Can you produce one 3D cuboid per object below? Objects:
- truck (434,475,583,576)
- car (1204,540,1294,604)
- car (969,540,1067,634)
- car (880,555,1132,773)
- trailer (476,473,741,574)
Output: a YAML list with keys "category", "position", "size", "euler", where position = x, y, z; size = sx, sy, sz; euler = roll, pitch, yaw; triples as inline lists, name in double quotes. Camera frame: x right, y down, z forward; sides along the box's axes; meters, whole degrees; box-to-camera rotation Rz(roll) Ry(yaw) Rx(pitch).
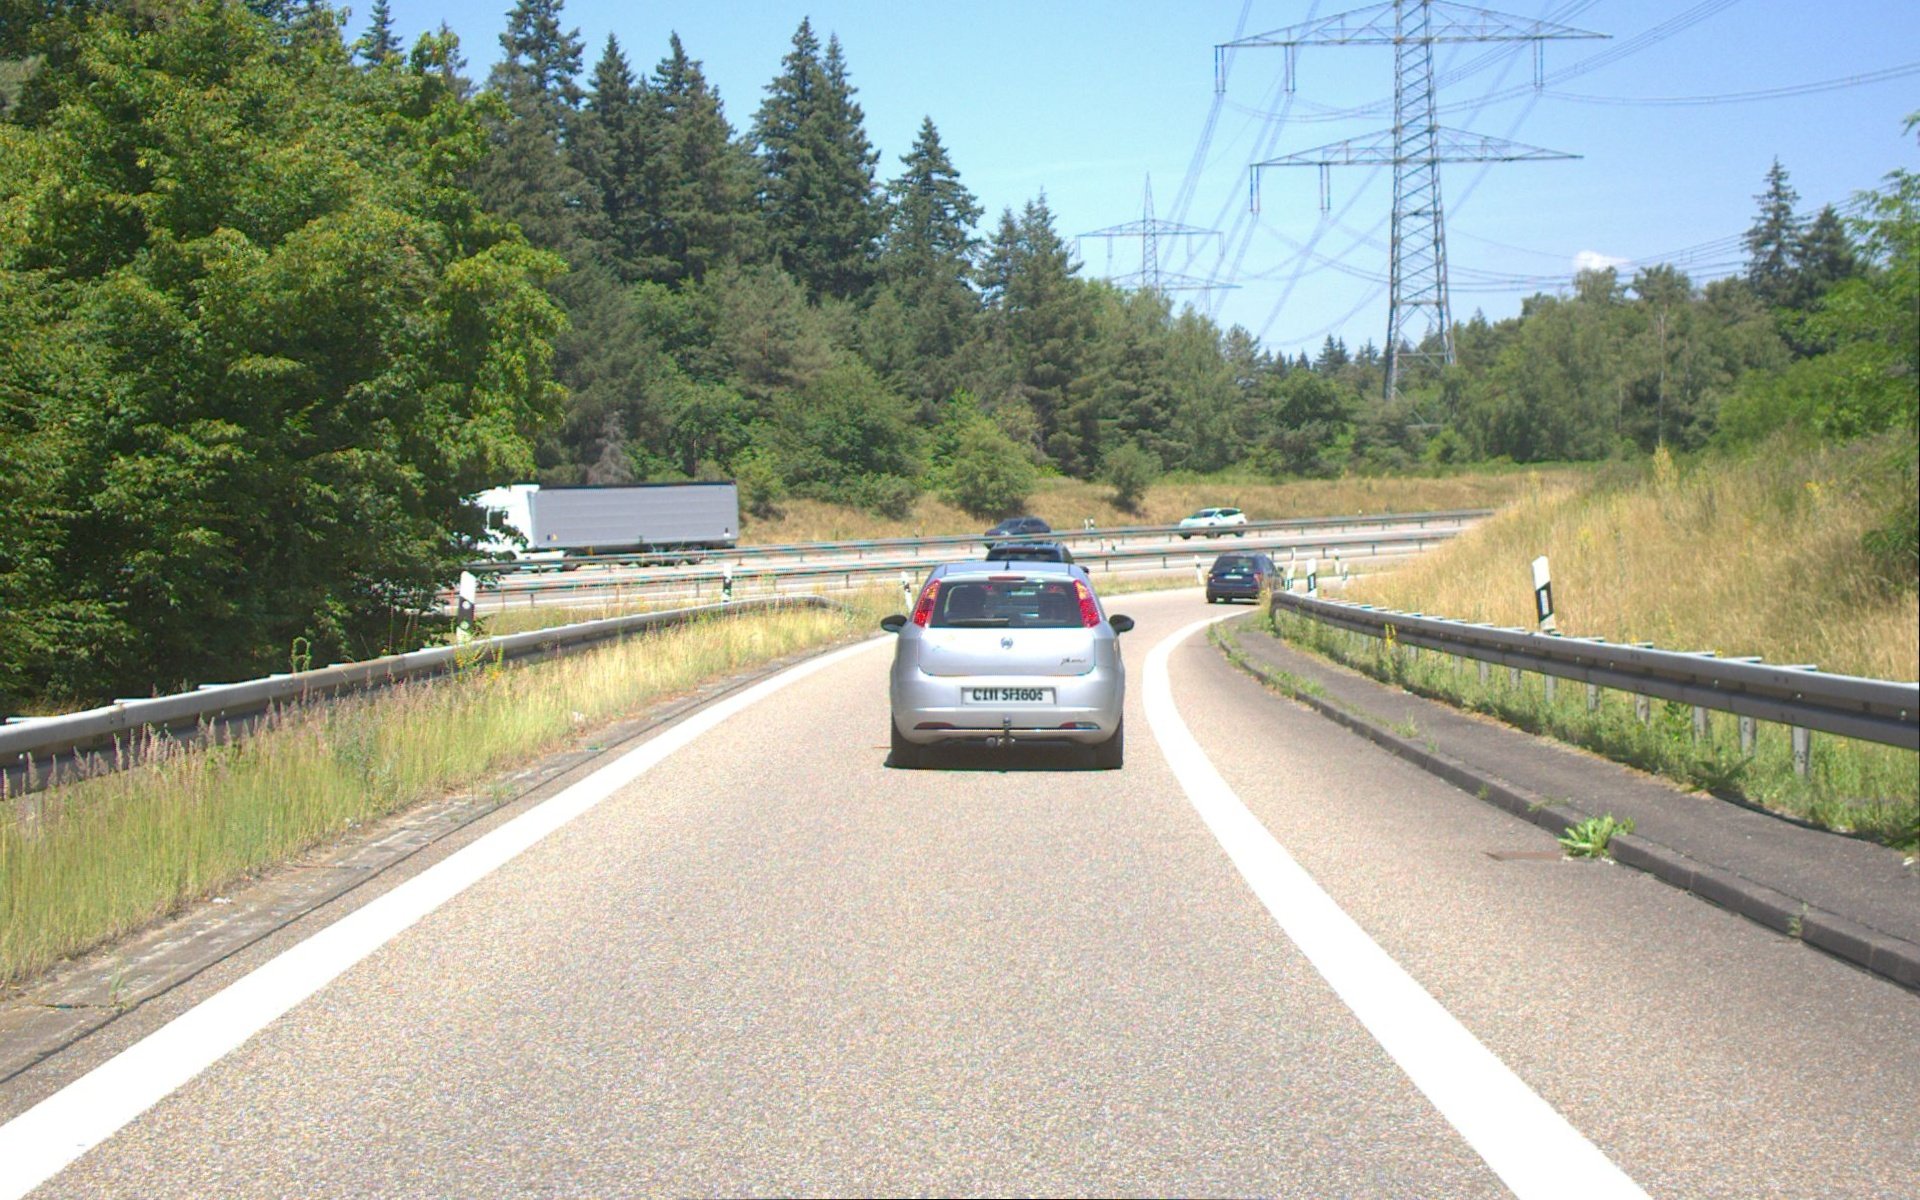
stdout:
- category: "truck"
  position: [-20.709, -3.434, 157.793]
  size: [2.946, 4.377, 6.257]
  euler: [-1, 1, 41]
- category: "car"
  position: [8.355, -0.835, 99.192]
  size: [1.883, 1.678, 3.998]
  euler: [-3, 1, 14]
- category: "car"
  position: [1.109, -0.272, 64.274]
  size: [1.706, 1.670, 3.397]
  euler: [0, 2, 3]
- category: "car"
  position: [0.274, 0.419, 25.268]
  size: [1.706, 1.477, 3.398]
  euler: [0, 1, -2]
- category: "trailer"
  position: [-16.456, -3.684, 162.798]
  size: [2.931, 4.372, 14.265]
  euler: [-1, 1, 40]
